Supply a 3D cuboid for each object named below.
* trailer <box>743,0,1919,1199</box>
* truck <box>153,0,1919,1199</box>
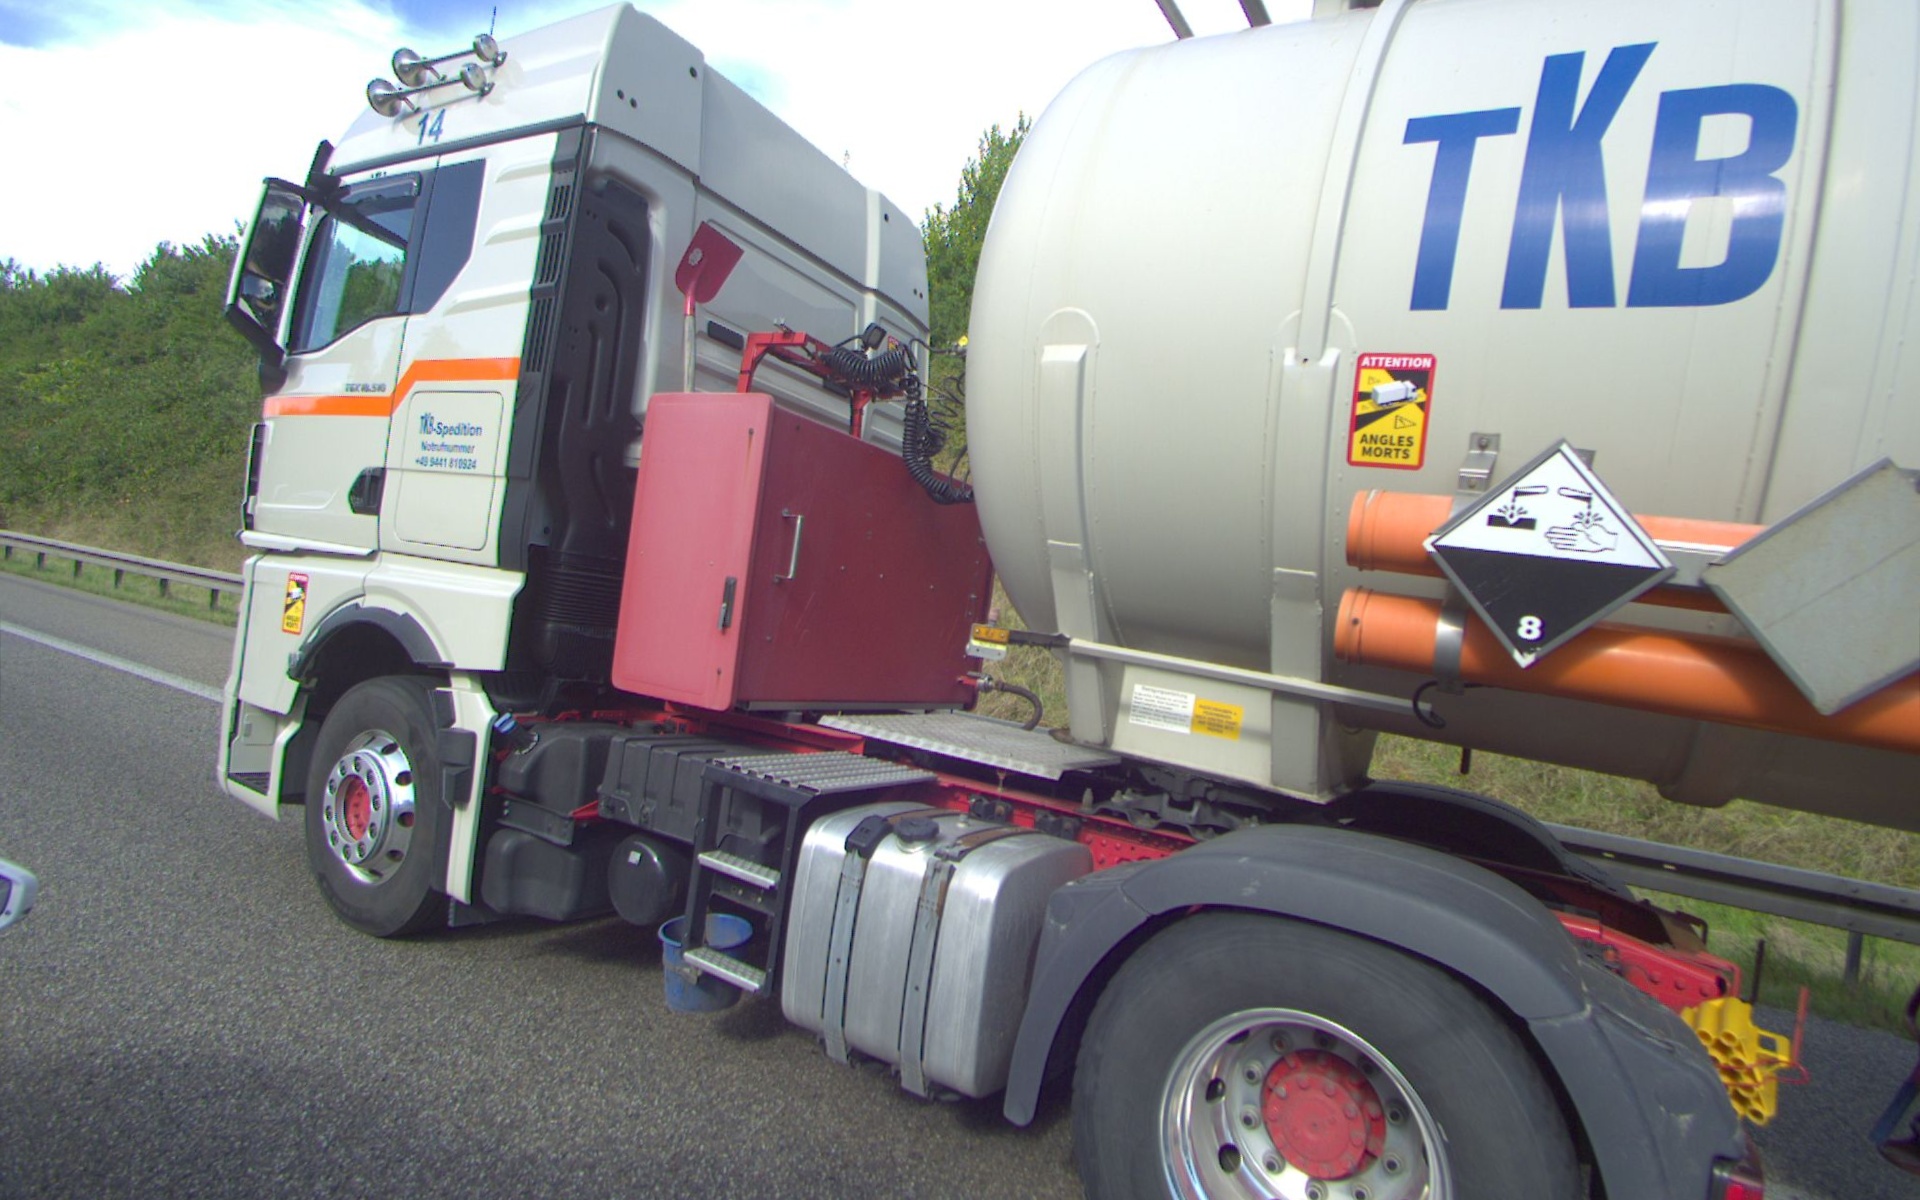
[{"bbox_3d":[5.027,0.052,0.800,10.998,4.074,2.802,7,-1,32],"label":"trailer"},{"bbox_3d":[-0.235,-0.539,4.175,5.807,4.091,2.807,7,-1,32],"label":"truck"}]
